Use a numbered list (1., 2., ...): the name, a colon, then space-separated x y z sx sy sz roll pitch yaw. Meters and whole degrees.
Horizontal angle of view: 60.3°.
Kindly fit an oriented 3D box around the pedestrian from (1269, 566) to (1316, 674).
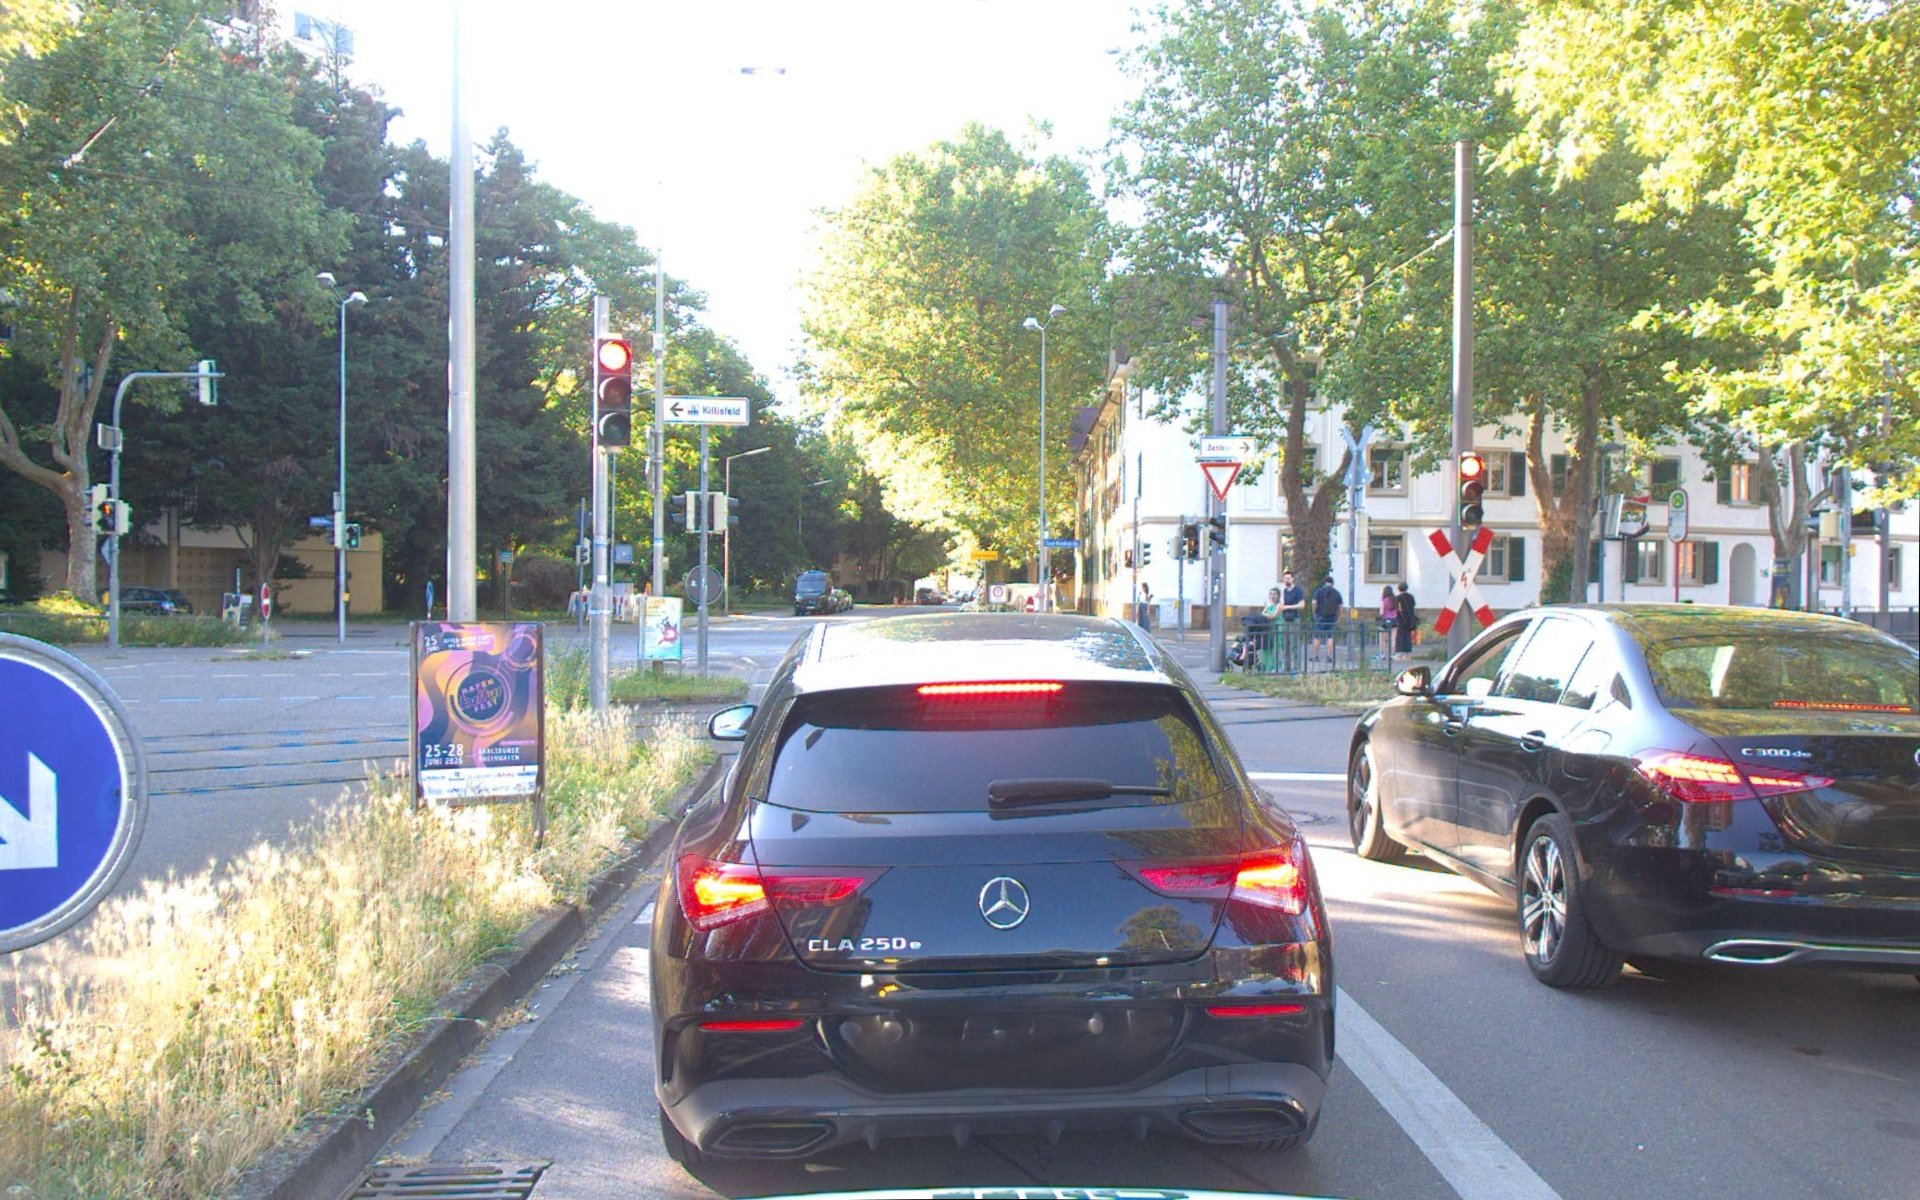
1. pedestrian: 6.071 0.362 30.199 0.669 1.951 0.707 1 -1 -3

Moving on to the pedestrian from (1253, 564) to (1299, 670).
1. pedestrian: 5.914 0.309 30.969 0.669 1.951 0.706 1 -1 -5

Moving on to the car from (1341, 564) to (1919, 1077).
1. car: 3.152 0.657 7.354 1.851 1.516 4.382 1 2 0

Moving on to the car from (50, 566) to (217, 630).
1. car: -24.374 -0.061 48.844 3.902 1.805 2.001 1 0 7

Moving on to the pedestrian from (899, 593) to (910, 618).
1. pedestrian: -4.359 0.455 129.947 0.692 1.951 0.837 1 -1 -11

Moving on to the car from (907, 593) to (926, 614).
1. car: -3.948 0.317 150.312 1.698 1.796 4.018 1 0 -1

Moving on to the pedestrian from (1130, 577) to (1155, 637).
1. pedestrian: 6.089 0.233 55.243 0.691 1.951 0.838 1 -1 -4

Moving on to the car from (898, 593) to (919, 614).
1. car: -4.523 0.349 145.482 1.698 1.796 4.018 1 0 -1

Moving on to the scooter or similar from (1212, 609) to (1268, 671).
1. scooter or similar: 5.149 0.728 30.449 0.812 1.124 0.808 1 0 -6

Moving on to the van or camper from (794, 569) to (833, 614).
1. van or camper: -8.789 -0.484 99.605 1.953 2.586 4.650 1 0 -1

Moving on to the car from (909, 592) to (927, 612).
1. car: -3.996 0.206 158.395 1.698 1.796 4.018 1 0 -1

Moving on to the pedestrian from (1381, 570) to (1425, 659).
1. pedestrian: 9.860 0.318 36.808 0.691 1.951 0.838 1 -1 -4

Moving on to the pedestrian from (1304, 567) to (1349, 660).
1. pedestrian: 7.778 0.285 35.107 0.691 1.951 0.838 1 -1 -4

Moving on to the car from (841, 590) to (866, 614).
1. car: -8.128 0.145 126.271 1.698 1.796 3.970 1 0 -1

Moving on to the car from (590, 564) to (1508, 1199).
1. car: 0.196 0.671 5.380 1.851 1.475 4.001 1 2 0

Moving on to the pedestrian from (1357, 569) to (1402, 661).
1. pedestrian: 9.069 0.330 35.796 0.691 1.951 0.838 1 -1 -4
